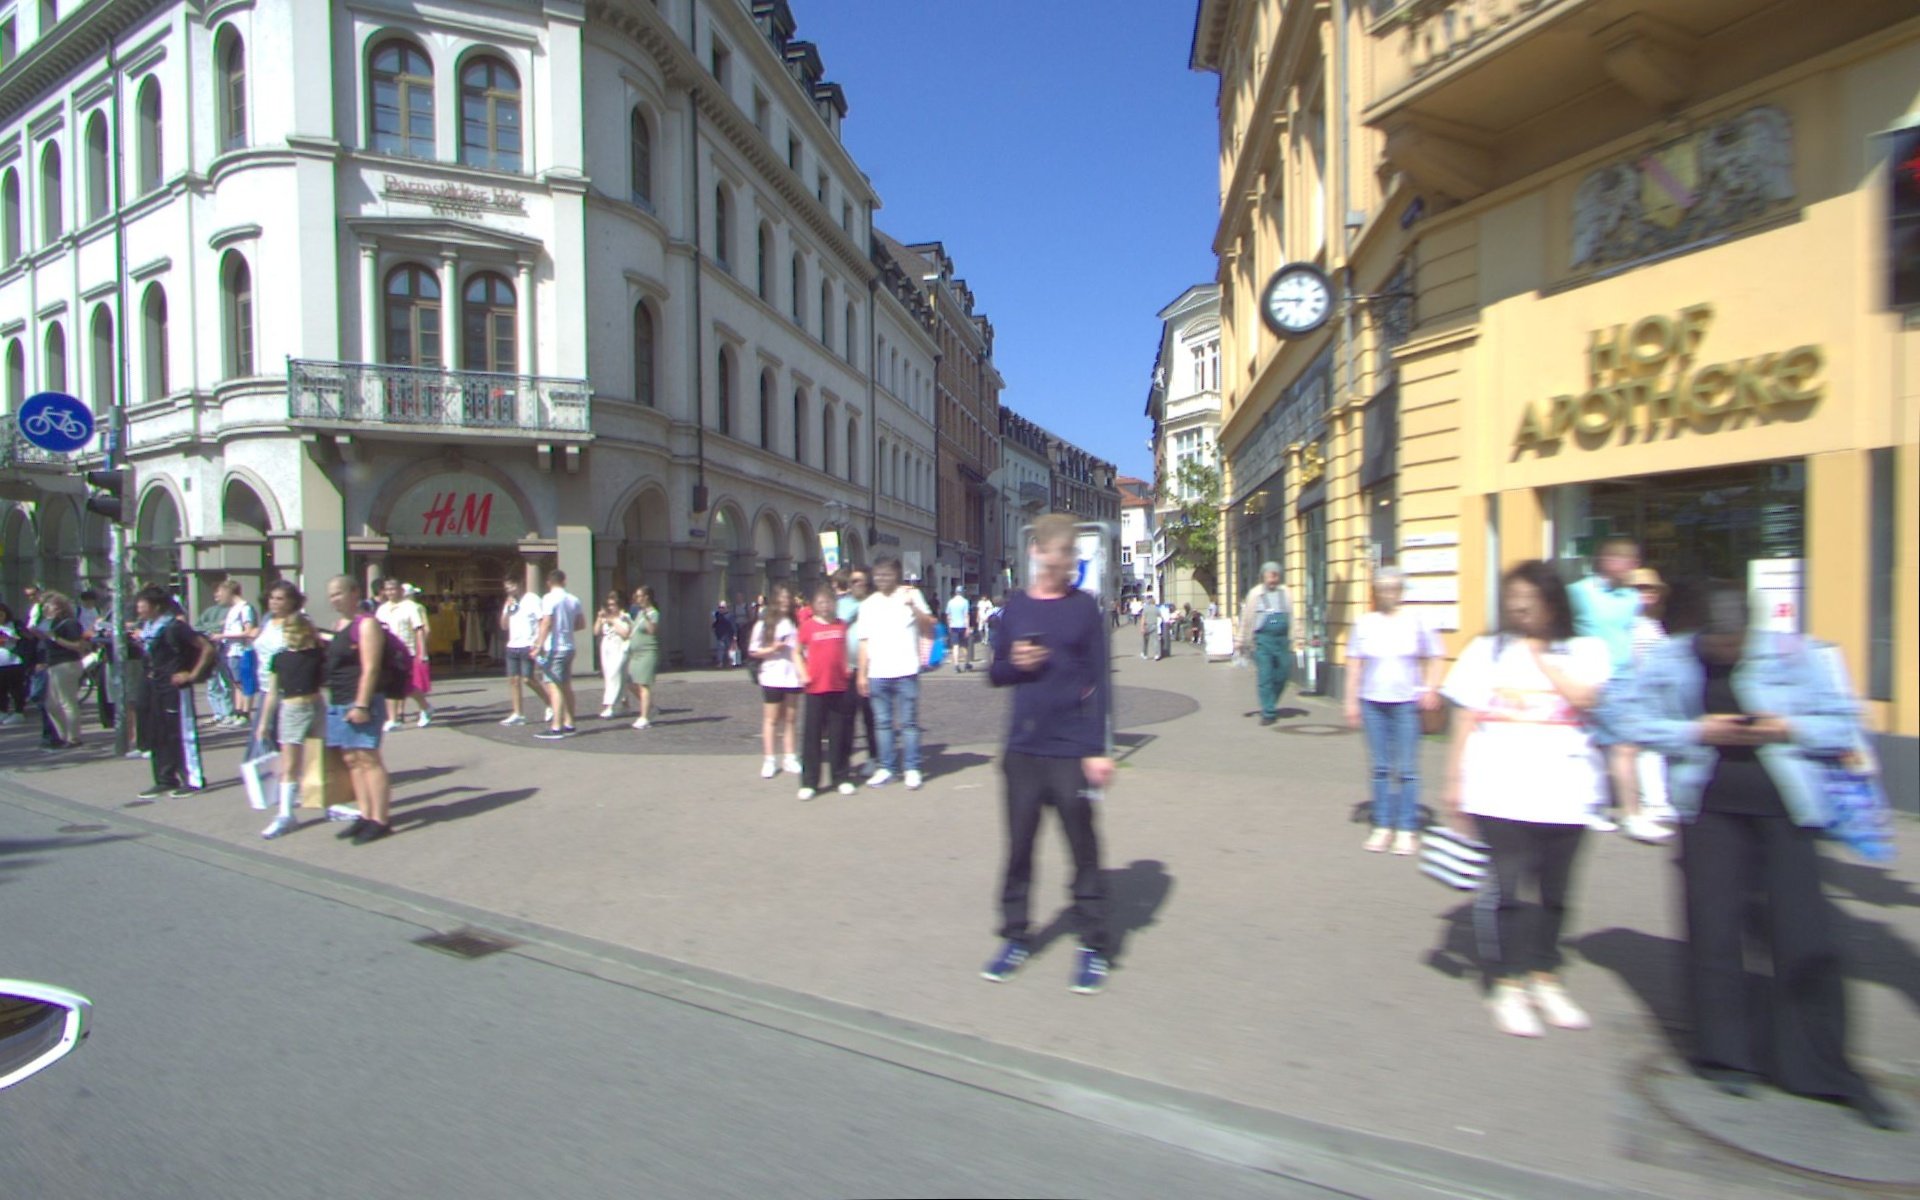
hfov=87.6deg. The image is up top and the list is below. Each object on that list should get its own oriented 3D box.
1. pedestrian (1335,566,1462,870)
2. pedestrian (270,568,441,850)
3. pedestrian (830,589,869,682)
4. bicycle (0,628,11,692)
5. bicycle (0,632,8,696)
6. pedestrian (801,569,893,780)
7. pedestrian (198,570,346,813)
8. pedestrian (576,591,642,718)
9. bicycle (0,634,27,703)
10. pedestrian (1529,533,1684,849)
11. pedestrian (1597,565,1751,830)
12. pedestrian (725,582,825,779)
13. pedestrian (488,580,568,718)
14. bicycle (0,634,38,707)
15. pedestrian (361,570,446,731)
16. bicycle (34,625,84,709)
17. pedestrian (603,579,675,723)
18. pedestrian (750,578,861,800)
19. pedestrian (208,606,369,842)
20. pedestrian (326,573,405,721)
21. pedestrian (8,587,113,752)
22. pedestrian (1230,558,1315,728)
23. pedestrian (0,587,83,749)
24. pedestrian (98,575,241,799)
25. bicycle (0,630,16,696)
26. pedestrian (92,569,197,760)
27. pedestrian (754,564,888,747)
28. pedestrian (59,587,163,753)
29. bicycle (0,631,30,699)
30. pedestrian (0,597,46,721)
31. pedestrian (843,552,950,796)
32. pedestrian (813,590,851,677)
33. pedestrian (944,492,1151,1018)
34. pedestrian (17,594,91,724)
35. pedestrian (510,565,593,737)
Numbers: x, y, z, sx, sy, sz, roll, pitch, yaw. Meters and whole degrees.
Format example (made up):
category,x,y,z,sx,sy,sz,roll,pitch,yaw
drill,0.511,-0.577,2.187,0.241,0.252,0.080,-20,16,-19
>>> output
category,x,y,z,sx,sy,sz,roll,pitch,yaw
pedestrian,2.571,0.645,5.857,0.581,1.662,0.547,0,2,35
pedestrian,-4.100,0.692,6.814,0.667,1.793,0.670,0,3,30
pedestrian,-2.182,0.700,19.882,0.664,1.793,0.542,1,0,2
bicycle,-15.821,0.977,15.614,0.395,0.993,1.417,1,2,32
bicycle,-15.540,1.012,15.254,0.439,0.993,1.417,1,2,32
pedestrian,-0.956,0.607,8.516,0.528,1.726,0.521,0,2,32
pedestrian,-5.349,0.676,7.799,0.667,1.784,0.608,0,4,30
pedestrian,-4.719,0.709,13.462,0.667,1.655,0.539,1,0,30
bicycle,-14.439,1.020,14.394,0.439,0.993,1.417,1,2,32
pedestrian,3.932,0.521,6.114,0.578,1.825,0.550,-1,2,-12
pedestrian,4.511,0.586,6.350,0.578,1.590,0.550,-1,2,-12
pedestrian,-1.597,0.667,8.649,0.632,1.630,0.521,0,2,32
pedestrian,-5.336,0.581,12.377,0.667,1.640,0.609,2,2,30
bicycle,-13.804,1.007,13.879,0.439,0.993,1.417,1,2,32
pedestrian,-6.568,0.582,11.824,0.667,1.831,0.609,0,0,30
bicycle,-13.420,0.977,14.937,0.396,1.129,1.414,-2,2,-37
pedestrian,-3.977,0.620,12.433,0.667,1.739,0.540,0,0,28
pedestrian,-1.191,0.655,7.732,0.632,1.633,0.521,0,2,32
pedestrian,-4.738,0.834,7.082,0.667,1.537,0.608,0,5,30
pedestrian,-7.658,0.587,12.904,0.667,1.848,0.609,0,0,30
pedestrian,-9.677,0.725,10.779,0.596,1.697,0.581,0,4,30
pedestrian,3.547,0.467,11.357,0.783,1.848,0.618,0,2,32
pedestrian,-10.323,0.734,11.146,0.596,1.724,0.581,0,4,30
pedestrian,-6.625,0.697,8.410,0.667,1.764,0.608,0,5,30
bicycle,-15.141,0.986,14.974,0.439,0.993,1.417,1,2,32
pedestrian,-8.231,0.629,10.115,0.667,1.848,0.609,0,0,30
pedestrian,-1.469,0.574,10.562,1.215,1.813,0.656,-2,0,32
pedestrian,-9.085,0.727,10.725,0.596,1.697,0.581,0,4,30
bicycle,-14.743,0.996,14.765,0.439,0.993,1.417,1,2,32
pedestrian,-12.782,0.774,13.501,0.524,1.617,0.608,-1,4,-31
pedestrian,-0.502,0.563,7.979,0.632,1.848,0.521,0,2,32
pedestrian,-2.587,0.676,20.311,0.664,1.739,0.542,1,0,2
pedestrian,0.360,0.569,4.046,0.633,1.924,0.521,0,2,35
pedestrian,-11.781,0.747,13.033,0.524,1.617,0.608,-3,2,-31
pedestrian,-4.639,0.567,11.383,0.534,1.880,0.674,0,0,30
